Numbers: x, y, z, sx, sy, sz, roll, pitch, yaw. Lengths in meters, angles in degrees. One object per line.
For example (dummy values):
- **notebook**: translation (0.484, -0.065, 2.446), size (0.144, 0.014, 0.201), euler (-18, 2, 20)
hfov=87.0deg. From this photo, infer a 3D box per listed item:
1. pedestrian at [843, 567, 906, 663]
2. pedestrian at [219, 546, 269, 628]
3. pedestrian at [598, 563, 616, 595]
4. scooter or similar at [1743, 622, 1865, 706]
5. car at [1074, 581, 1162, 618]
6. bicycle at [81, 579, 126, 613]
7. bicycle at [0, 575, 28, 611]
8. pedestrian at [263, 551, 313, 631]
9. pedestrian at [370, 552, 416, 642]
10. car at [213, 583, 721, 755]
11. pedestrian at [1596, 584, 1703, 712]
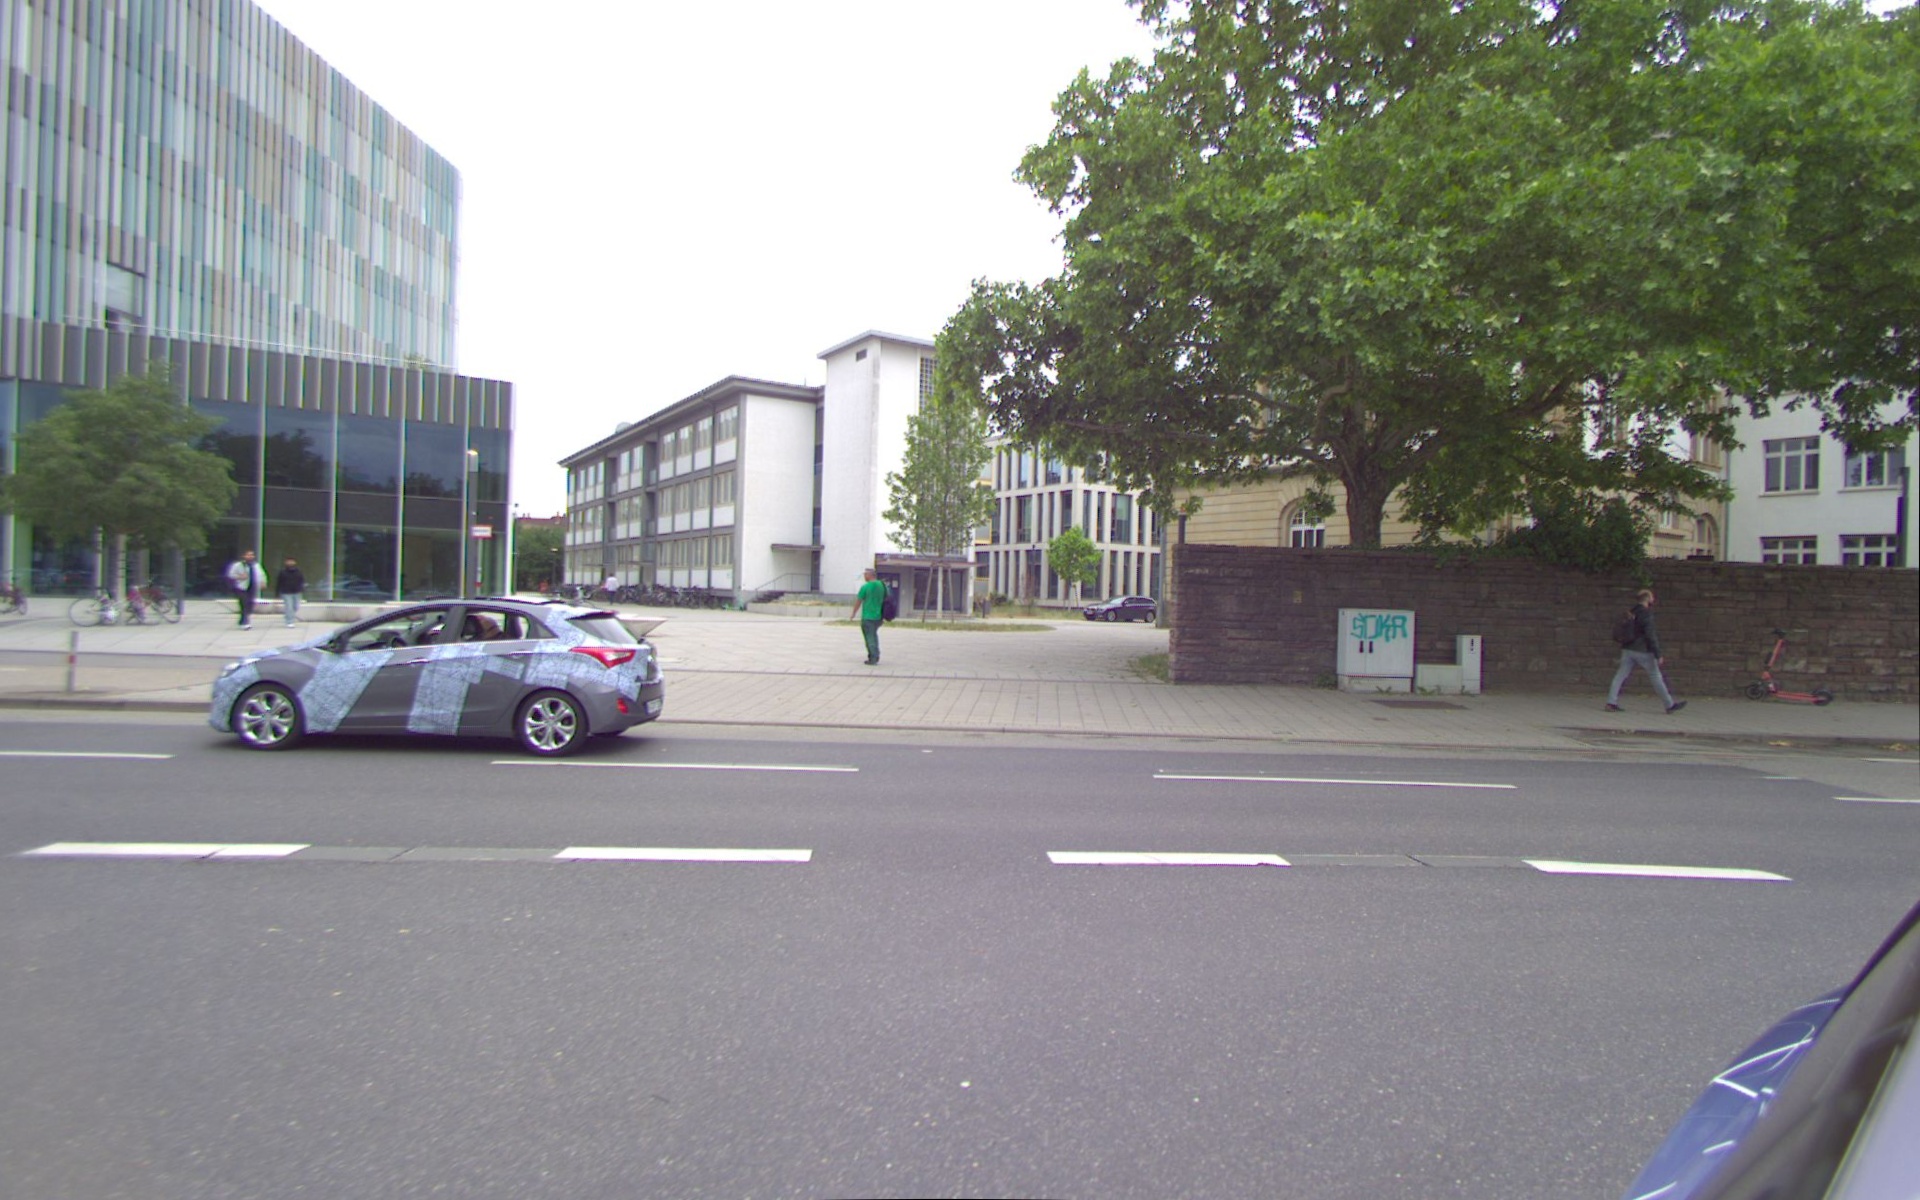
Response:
- **pedestrian**: translation (-1.608, 0.264, 18.901), size (0.931, 1.736, 0.908), euler (2, 0, -19)
- **pedestrian**: translation (-16.295, -0.295, 23.032), size (0.831, 1.811, 0.893), euler (1, 0, -41)
- **pedestrian**: translation (-20.376, -1.207, 58.425), size (0.761, 1.811, 0.762), euler (2, 0, -33)
- **scooter or similar**: translation (13.806, 1.028, 16.592), size (1.396, 1.245, 0.492), euler (2, 2, 20)
- **car**: translation (8.431, -0.016, 53.961), size (4.316, 1.604, 1.999), euler (0, -9, -33)
- **bicycle**: translation (-25.606, -0.122, 30.238), size (1.996, 0.947, 0.478), euler (3, 1, 33)
- **bicycle**: translation (-26.909, -0.221, 28.528), size (1.996, 0.947, 0.478), euler (3, 1, 33)
- **pedestrian**: translation (-15.702, -0.209, 23.655), size (0.831, 1.811, 0.893), euler (2, 0, -41)
- **pedestrian**: translation (-10.827, -0.053, 19.327), size (0.608, 1.687, 0.623), euler (1, 0, -44)
- **car**: translation (-4.718, 0.646, 10.242), size (4.145, 1.487, 2.000), euler (1, -1, -2)
- **pedestrian**: translation (10.160, 0.690, 14.940), size (0.988, 1.811, 0.758), euler (1, 1, 0)
